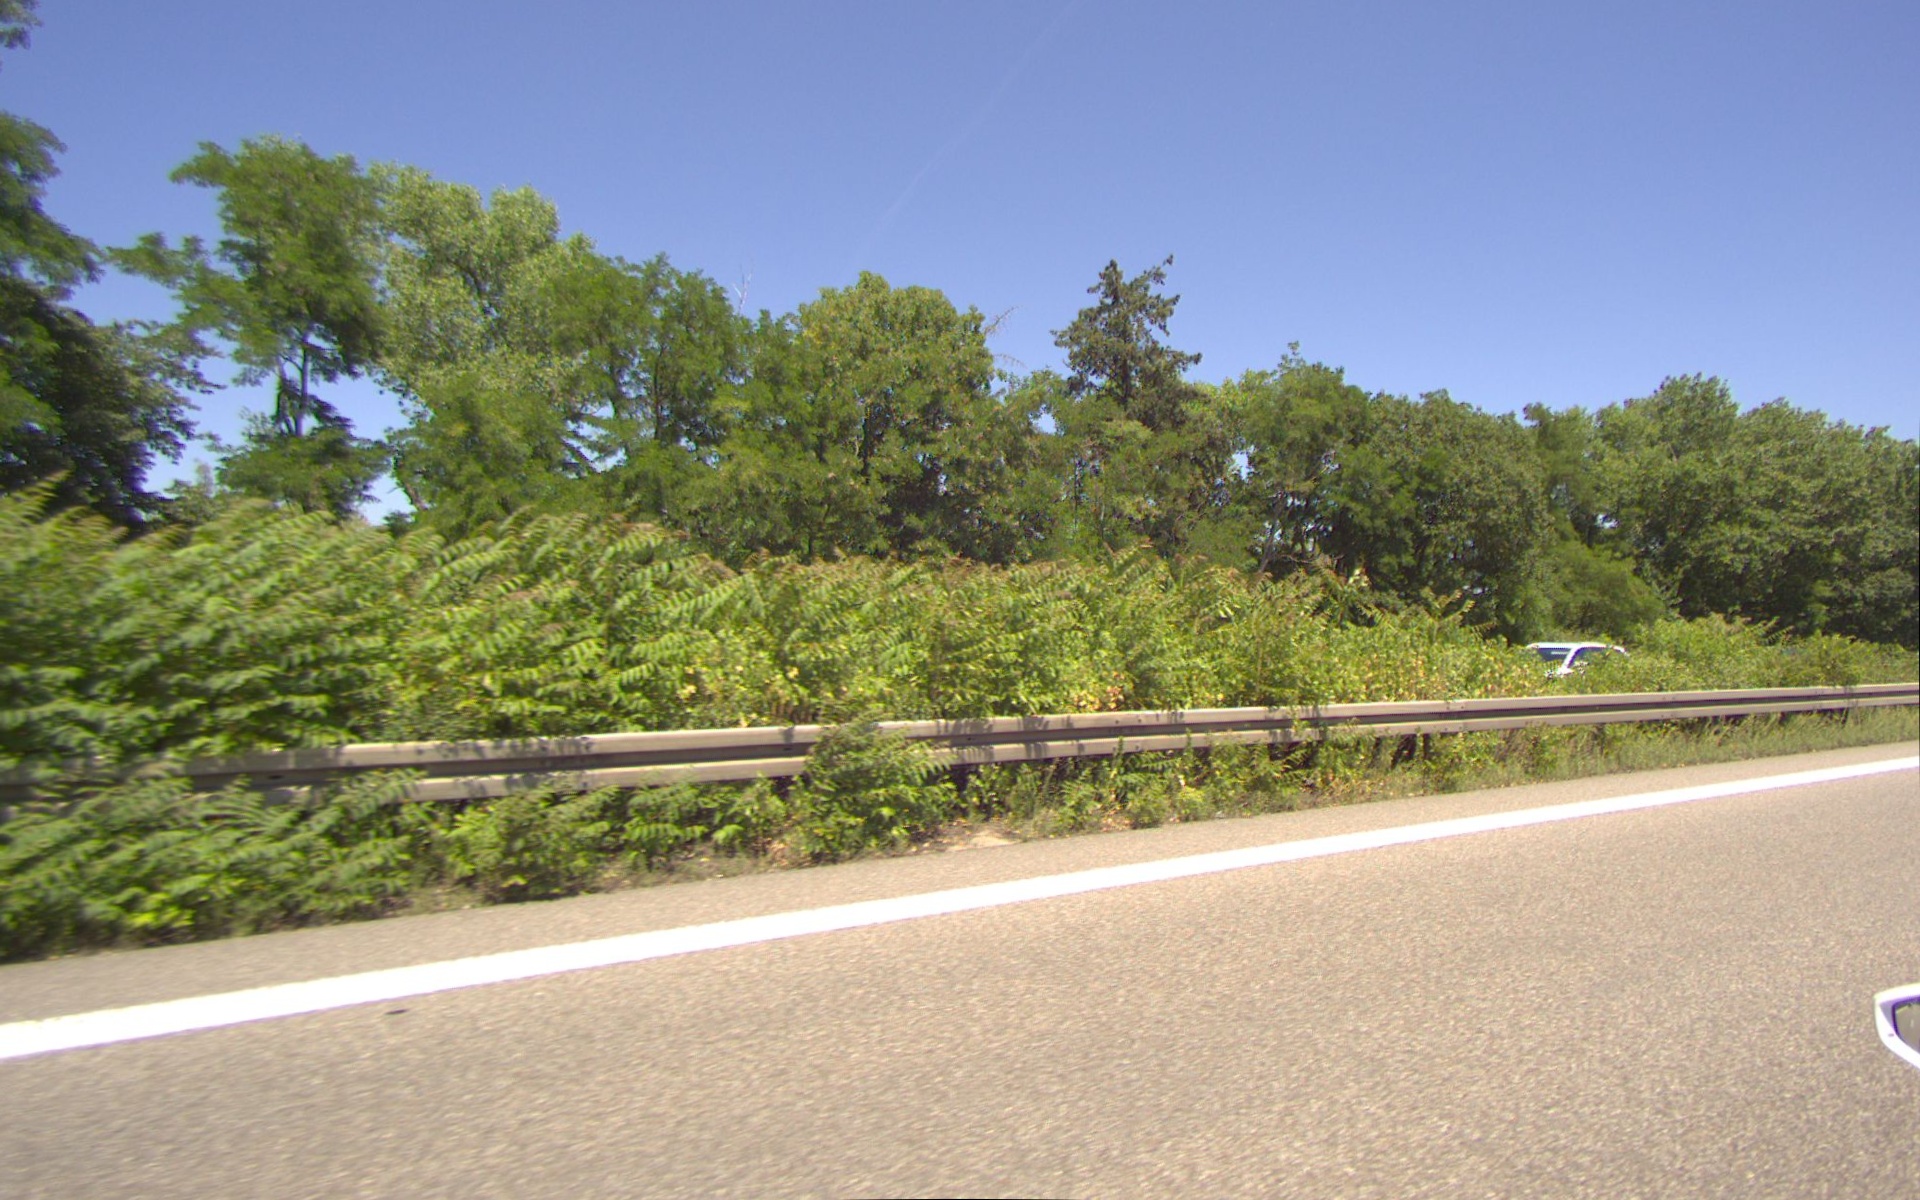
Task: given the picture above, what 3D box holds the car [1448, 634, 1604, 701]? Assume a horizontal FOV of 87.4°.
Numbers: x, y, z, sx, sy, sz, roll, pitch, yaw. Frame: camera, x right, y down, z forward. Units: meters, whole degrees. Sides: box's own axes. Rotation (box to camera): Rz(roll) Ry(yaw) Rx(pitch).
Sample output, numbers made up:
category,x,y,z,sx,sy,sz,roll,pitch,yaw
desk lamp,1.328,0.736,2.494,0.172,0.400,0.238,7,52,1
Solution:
category,x,y,z,sx,sy,sz,roll,pitch,yaw
car,12.193,1.397,21.616,3.397,1.287,1.384,1,0,-30
